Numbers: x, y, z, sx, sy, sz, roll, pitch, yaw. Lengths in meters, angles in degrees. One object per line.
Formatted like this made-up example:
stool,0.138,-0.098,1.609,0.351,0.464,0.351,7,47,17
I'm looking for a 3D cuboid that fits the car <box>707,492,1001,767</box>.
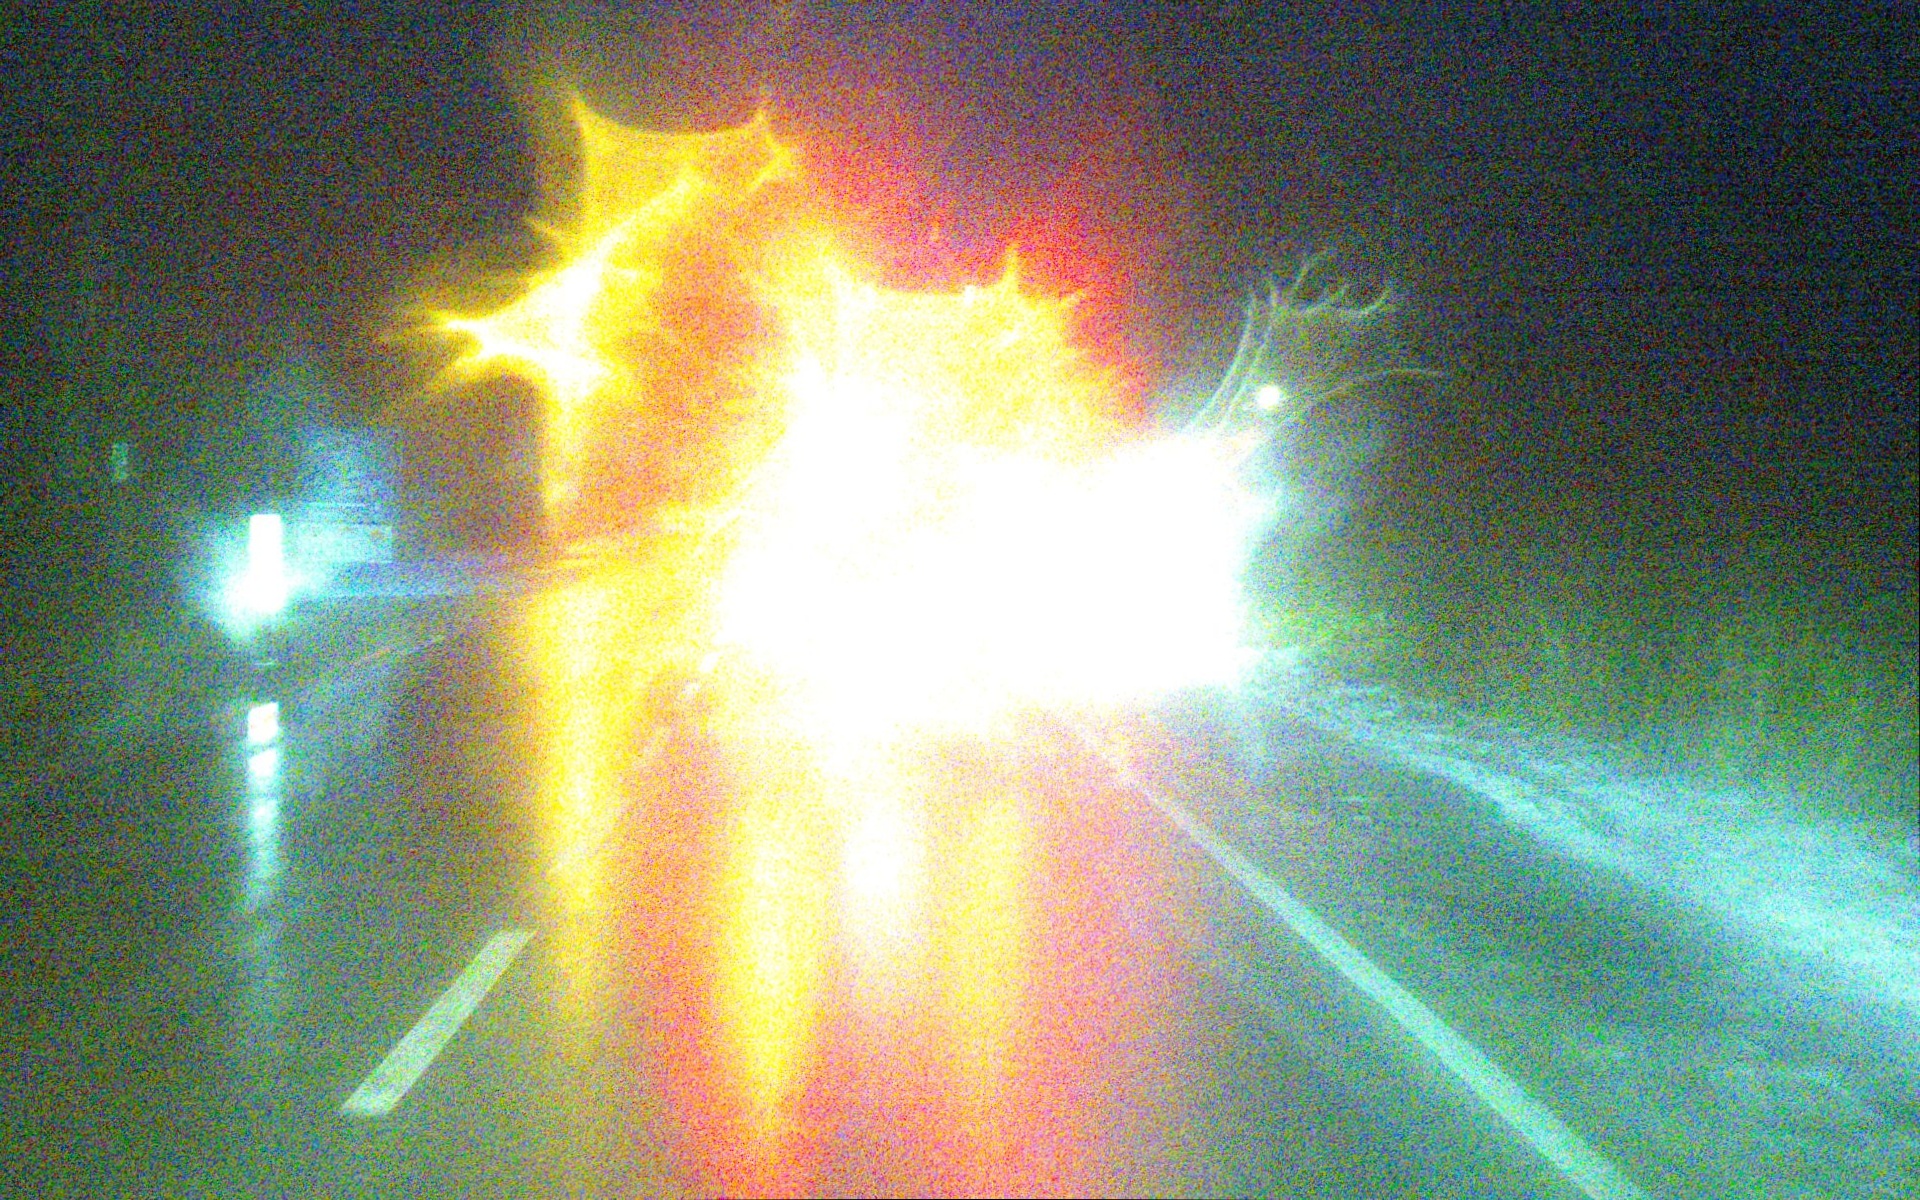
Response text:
car,-0.637,0.120,22.892,1.791,1.675,3.905,0,2,0
